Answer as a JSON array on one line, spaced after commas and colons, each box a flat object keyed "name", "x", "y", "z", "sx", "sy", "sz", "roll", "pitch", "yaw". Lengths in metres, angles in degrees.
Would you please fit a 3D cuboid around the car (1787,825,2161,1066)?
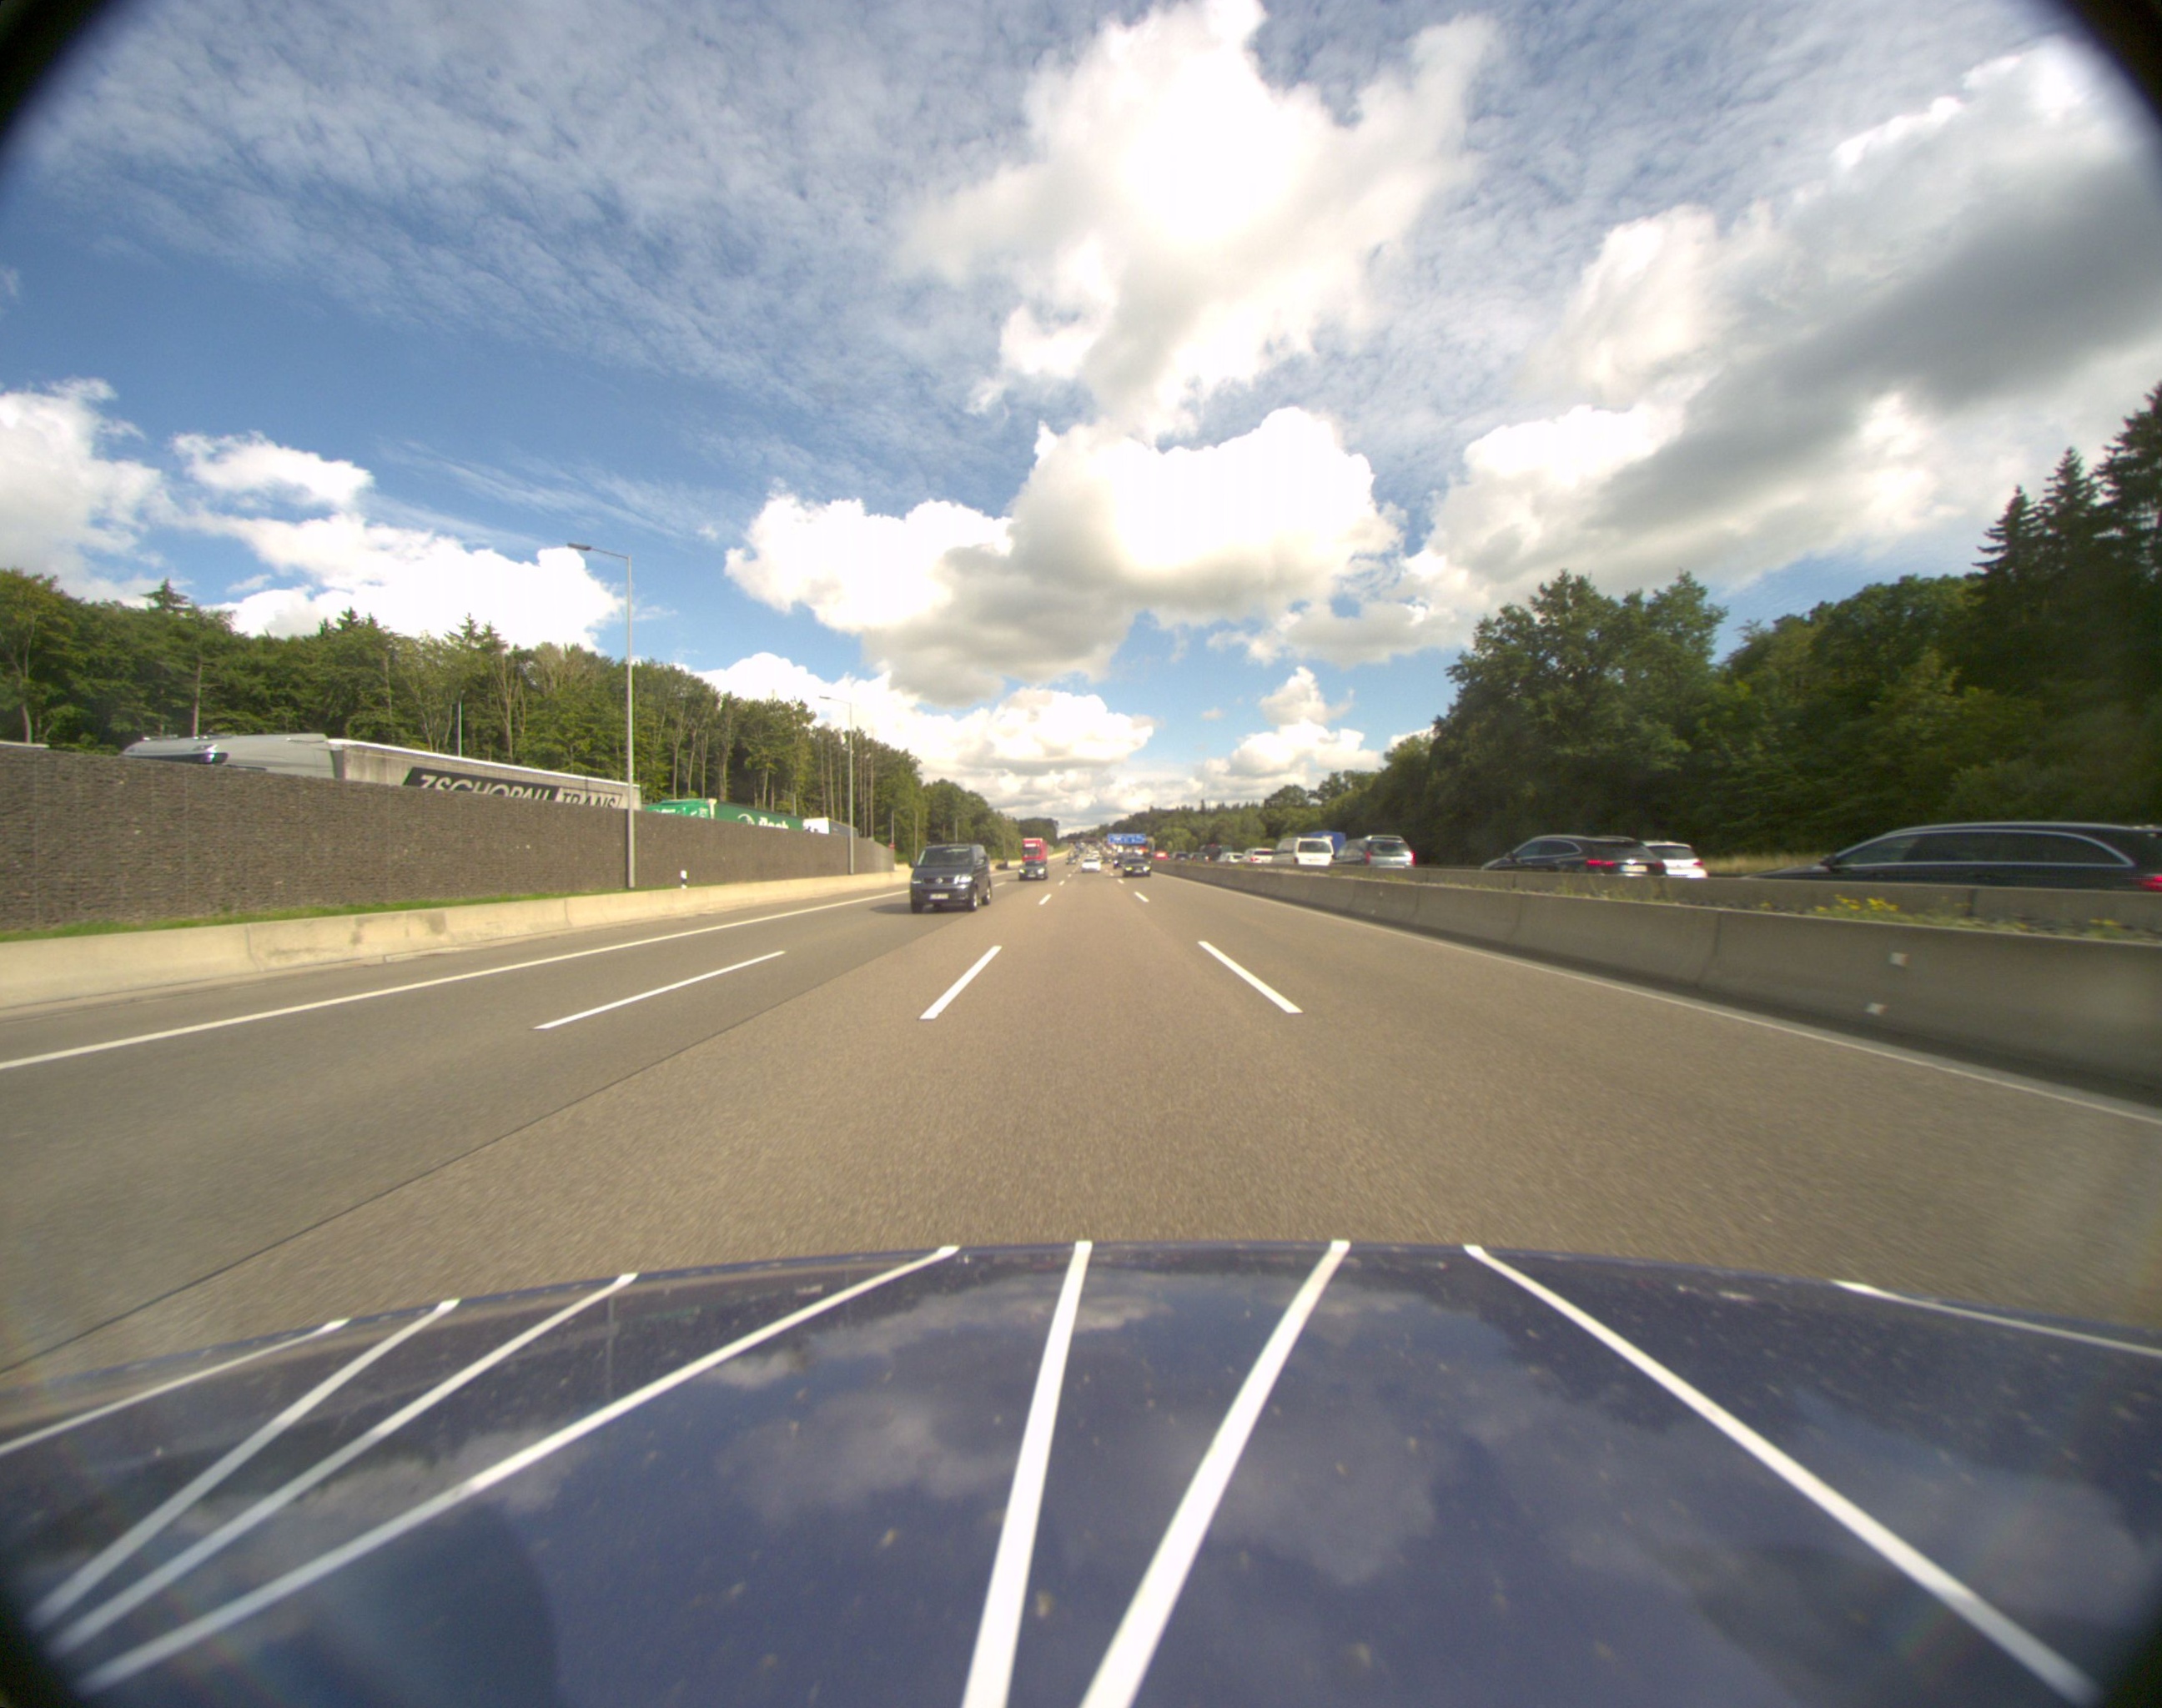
[{"name": "car", "x": 10.336, "y": 0.735, "z": 8.087, "sx": 1.998, "sy": 2.002, "sz": 3.999, "roll": -2, "pitch": 2, "yaw": 2}]

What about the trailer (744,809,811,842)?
[{"name": "trailer", "x": -20.507, "y": -1.933, "z": 51.698, "sx": 1.998, "sy": 2.002, "sz": 6.190, "roll": -2, "pitch": 2, "yaw": 0}]

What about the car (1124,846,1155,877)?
[{"name": "car", "x": 4.065, "y": 0.495, "z": 53.634, "sx": 1.919, "sy": 2.002, "sz": 4.000, "roll": -2, "pitch": 1, "yaw": 2}]

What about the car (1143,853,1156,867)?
[{"name": "car", "x": 11.377, "y": 1.014, "z": 125.547, "sx": 1.821, "sy": 2.002, "sz": 4.451, "roll": -2, "pitch": 2, "yaw": 2}]

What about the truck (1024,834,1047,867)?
[{"name": "truck", "x": -6.049, "y": -0.484, "z": 101.677, "sx": 2.532, "sy": 4.179, "sz": 4.652, "roll": -2, "pitch": 2, "yaw": 1}]

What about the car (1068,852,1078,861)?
[{"name": "car", "x": -1.587, "y": 0.496, "z": 146.722, "sx": 1.911, "sy": 1.582, "sz": 4.285, "roll": -2, "pitch": 2, "yaw": -2}]

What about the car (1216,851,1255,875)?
[{"name": "car", "x": 11.088, "y": 0.597, "z": 54.680, "sx": 1.998, "sy": 1.563, "sz": 4.357, "roll": -2, "pitch": 0, "yaw": 2}]

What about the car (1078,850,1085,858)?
[{"name": "car", "x": 0.112, "y": 0.026, "z": 205.055, "sx": 1.804, "sy": 1.865, "sz": 3.950, "roll": -1, "pitch": 1, "yaw": 1}]

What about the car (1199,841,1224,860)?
[{"name": "car", "x": 15.121, "y": -0.421, "z": 88.047, "sx": 1.998, "sy": 2.020, "sz": 5.846, "roll": -2, "pitch": 0, "yaw": 2}]

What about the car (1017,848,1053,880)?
[{"name": "car", "x": -3.163, "y": 0.638, "z": 52.863, "sx": 1.998, "sy": 2.002, "sz": 4.000, "roll": -4, "pitch": 1, "yaw": 2}]

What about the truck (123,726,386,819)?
[{"name": "truck", "x": -20.666, "y": -1.947, "z": 19.329, "sx": 2.050, "sy": 2.002, "sz": 4.095, "roll": -2, "pitch": 2, "yaw": 0}]

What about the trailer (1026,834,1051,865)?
[{"name": "trailer", "x": -5.961, "y": -0.755, "z": 108.702, "sx": 2.531, "sy": 4.096, "sz": 14.373, "roll": -2, "pitch": 2, "yaw": 1}]

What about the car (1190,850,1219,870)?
[{"name": "car", "x": 10.558, "y": 0.523, "z": 65.105, "sx": 1.998, "sy": 1.563, "sz": 3.511, "roll": -2, "pitch": 0, "yaw": 2}]

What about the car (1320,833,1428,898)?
[{"name": "car", "x": 10.179, "y": 0.307, "z": 26.828, "sx": 1.998, "sy": 2.002, "sz": 4.675, "roll": -2, "pitch": 2, "yaw": 1}]

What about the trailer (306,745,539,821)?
[{"name": "trailer", "x": -20.631, "y": -2.123, "z": 24.342, "sx": 2.050, "sy": 2.002, "sz": 6.004, "roll": -2, "pitch": 2, "yaw": 1}]

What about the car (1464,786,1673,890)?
[{"name": "car", "x": 10.902, "y": -0.403, "z": 17.465, "sx": 1.998, "sy": 2.002, "sz": 4.546, "roll": -2, "pitch": 2, "yaw": 2}]

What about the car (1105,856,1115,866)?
[{"name": "car", "x": 5.473, "y": 1.282, "z": 143.700, "sx": 1.804, "sy": 1.783, "sz": 3.757, "roll": -1, "pitch": 1, "yaw": 0}]

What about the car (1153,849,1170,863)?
[{"name": "car", "x": 10.498, "y": 0.240, "z": 99.168, "sx": 1.862, "sy": 1.753, "sz": 4.458, "roll": -2, "pitch": 1, "yaw": 2}]

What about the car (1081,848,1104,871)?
[{"name": "car", "x": 1.091, "y": 0.495, "z": 71.371, "sx": 1.998, "sy": 2.002, "sz": 4.000, "roll": -1, "pitch": 0, "yaw": 2}]

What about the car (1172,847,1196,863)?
[{"name": "car", "x": 11.333, "y": 0.106, "z": 83.793, "sx": 1.998, "sy": 1.563, "sz": 5.207, "roll": -2, "pitch": 0, "yaw": 2}]

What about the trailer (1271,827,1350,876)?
[{"name": "trailer", "x": 14.379, "y": -0.195, "z": 48.319, "sx": 2.284, "sy": 2.770, "sz": 8.540, "roll": -2, "pitch": 1, "yaw": 0}]

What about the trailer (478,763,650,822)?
[{"name": "trailer", "x": -20.565, "y": -2.351, "z": 30.830, "sx": 2.056, "sy": 2.002, "sz": 6.961, "roll": -2, "pitch": 2, "yaw": 1}]

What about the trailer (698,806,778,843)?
[{"name": "trailer", "x": -20.535, "y": -1.749, "z": 45.847, "sx": 1.998, "sy": 2.002, "sz": 5.774, "roll": -2, "pitch": 2, "yaw": 1}]

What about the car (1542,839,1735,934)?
[{"name": "car", "x": 13.757, "y": 0.693, "z": 19.084, "sx": 1.998, "sy": 2.002, "sz": 3.999, "roll": -2, "pitch": 2, "yaw": 2}]

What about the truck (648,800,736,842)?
[{"name": "truck", "x": -20.666, "y": -1.737, "z": 40.623, "sx": 2.050, "sy": 2.002, "sz": 4.779, "roll": -2, "pitch": 2, "yaw": 2}]

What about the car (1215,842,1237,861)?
[{"name": "car", "x": 19.020, "y": -0.301, "z": 99.988, "sx": 1.998, "sy": 2.360, "sz": 5.329, "roll": -2, "pitch": 0, "yaw": 2}]

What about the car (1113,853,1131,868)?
[{"name": "car", "x": 4.702, "y": 0.725, "z": 87.817, "sx": 1.911, "sy": 1.582, "sz": 4.286, "roll": -2, "pitch": 2, "yaw": 1}]

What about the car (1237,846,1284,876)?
[{"name": "car", "x": 10.413, "y": 0.376, "z": 44.377, "sx": 1.770, "sy": 1.563, "sz": 4.357, "roll": -2, "pitch": 0, "yaw": 2}]

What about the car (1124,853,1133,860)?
[{"name": "car", "x": 12.010, "y": 0.578, "z": 193.066, "sx": 1.998, "sy": 1.563, "sz": 4.815, "roll": -2, "pitch": 0, "yaw": 2}]

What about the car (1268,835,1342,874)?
[{"name": "car", "x": 10.403, "y": 0.006, "z": 35.757, "sx": 1.998, "sy": 1.563, "sz": 5.329, "roll": -4, "pitch": 0, "yaw": 2}]

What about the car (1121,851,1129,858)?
[{"name": "car", "x": 12.410, "y": 0.055, "z": 214.208, "sx": 1.691, "sy": 1.806, "sz": 4.294, "roll": -2, "pitch": 2, "yaw": 0}]

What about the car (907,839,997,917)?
[{"name": "car", "x": -3.882, "y": 0.642, "z": 23.685, "sx": 1.927, "sy": 2.153, "sz": 4.960, "roll": -1, "pitch": 1, "yaw": 0}]
